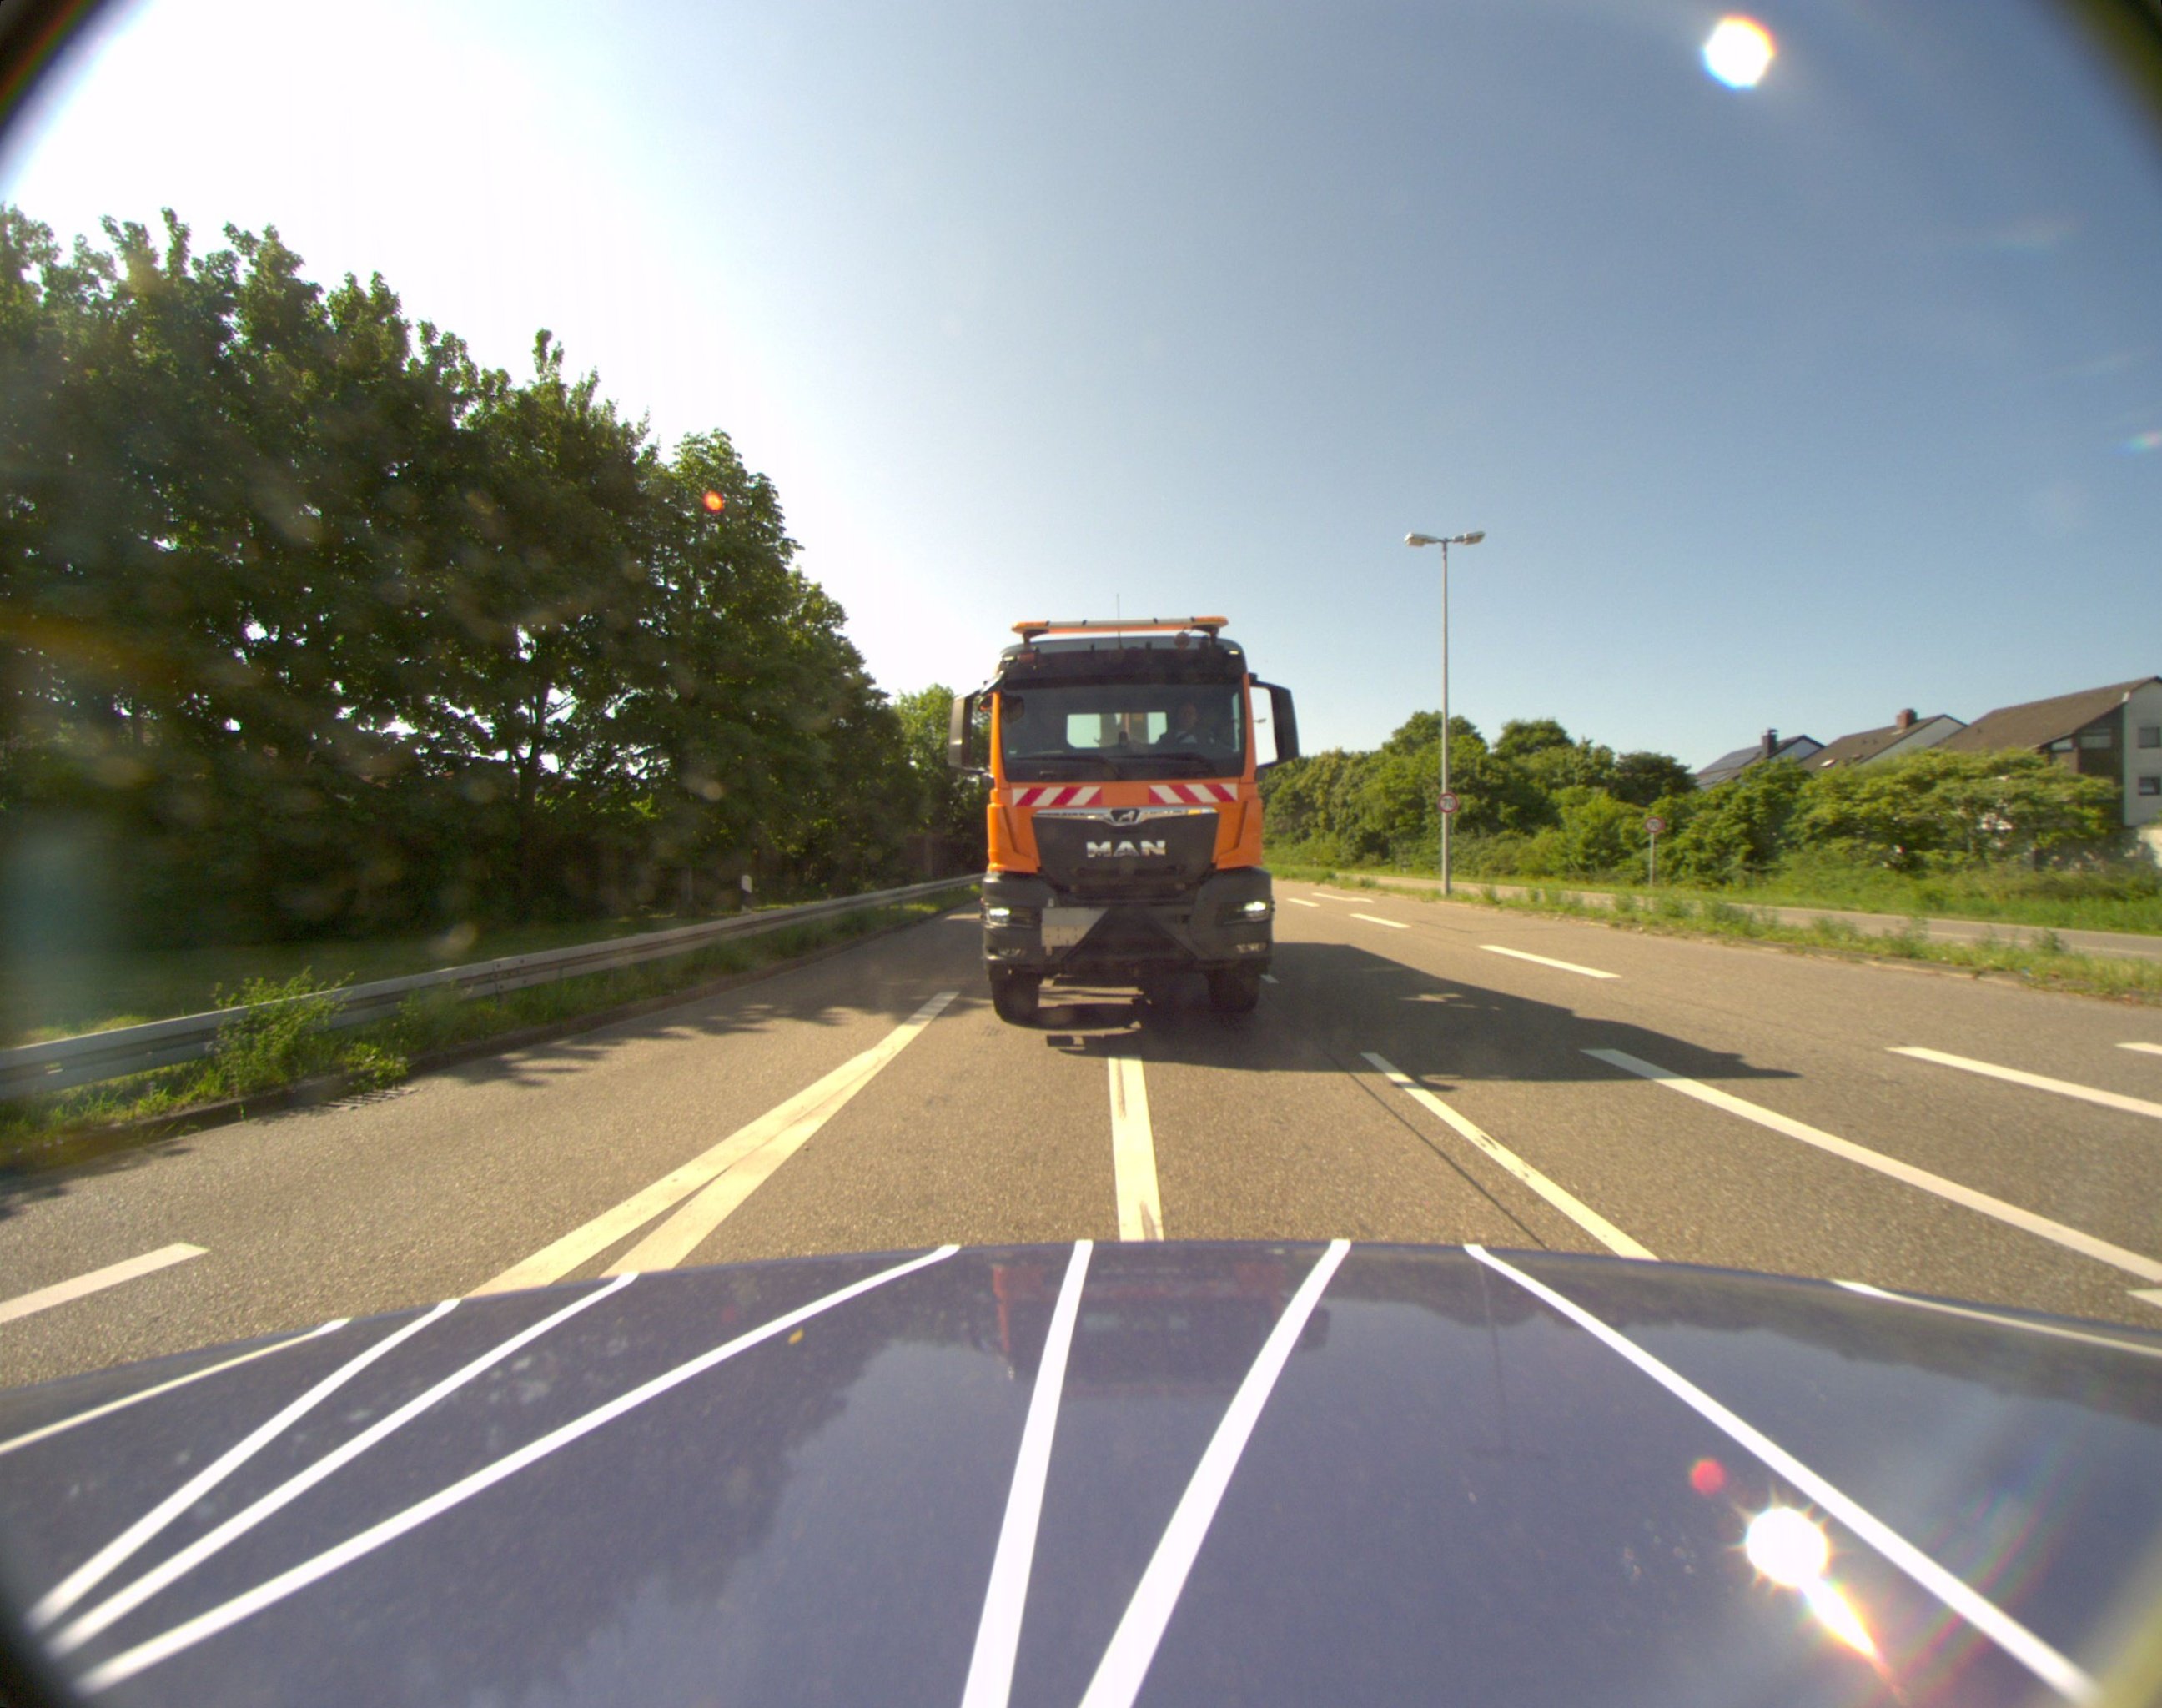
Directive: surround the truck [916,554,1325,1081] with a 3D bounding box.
[{"bbox_3d":[0.448,-0.285,9.025,2.940,3.853,6.591,-2,1,3],"label":"truck"}]
